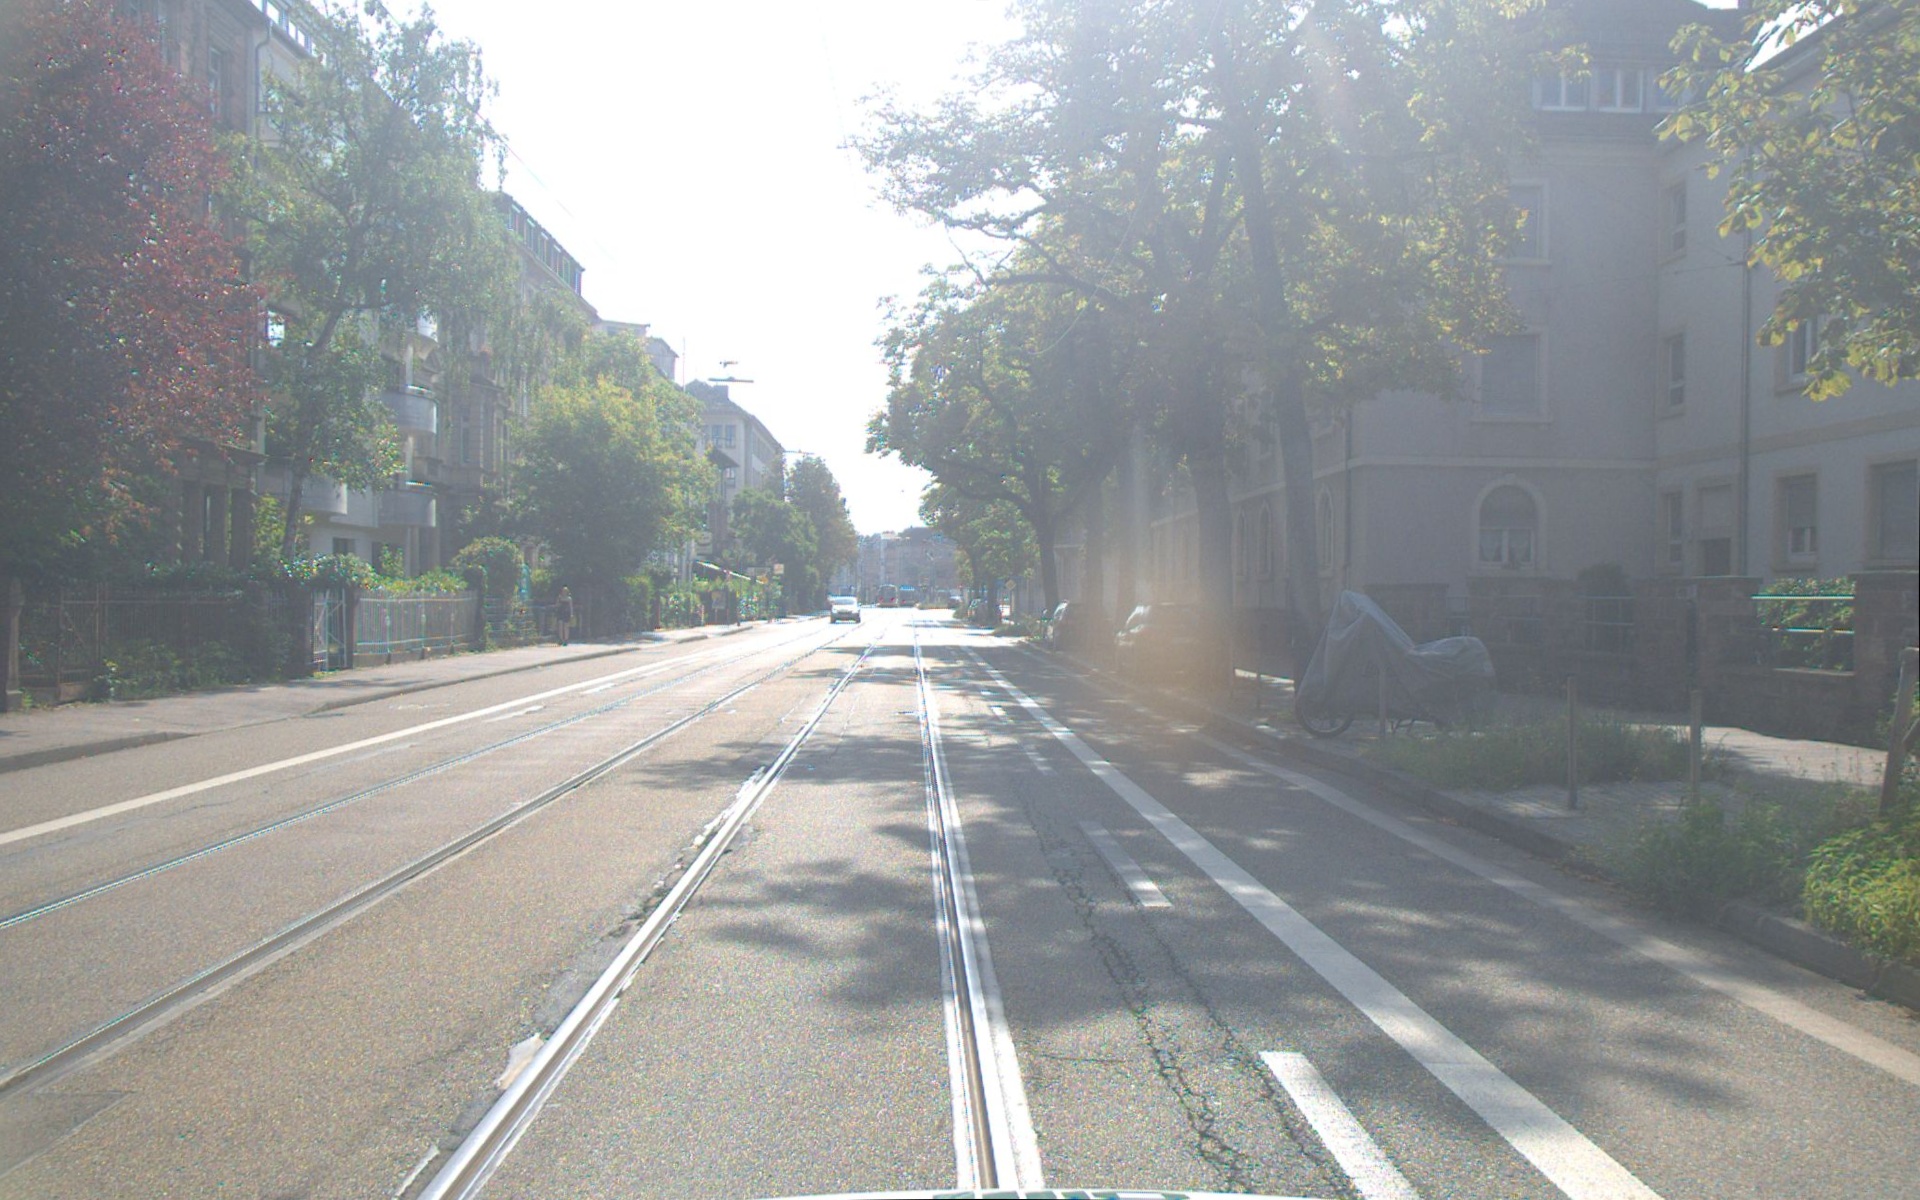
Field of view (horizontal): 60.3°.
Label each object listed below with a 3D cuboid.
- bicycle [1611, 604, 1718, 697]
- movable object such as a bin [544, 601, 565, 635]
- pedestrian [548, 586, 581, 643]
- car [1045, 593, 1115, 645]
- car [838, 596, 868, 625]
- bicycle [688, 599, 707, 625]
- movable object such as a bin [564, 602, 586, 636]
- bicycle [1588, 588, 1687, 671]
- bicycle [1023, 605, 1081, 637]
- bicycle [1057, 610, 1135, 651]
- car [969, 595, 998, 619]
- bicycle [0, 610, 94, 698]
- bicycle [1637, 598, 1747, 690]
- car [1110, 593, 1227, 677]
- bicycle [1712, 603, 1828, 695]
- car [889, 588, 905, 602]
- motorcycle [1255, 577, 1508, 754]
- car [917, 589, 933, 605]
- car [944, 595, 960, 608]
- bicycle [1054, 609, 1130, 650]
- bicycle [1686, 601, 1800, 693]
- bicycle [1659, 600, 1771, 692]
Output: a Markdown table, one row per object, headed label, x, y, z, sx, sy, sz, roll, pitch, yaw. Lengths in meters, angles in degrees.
| label | x | y | z | sx | sy | sz | roll | pitch | yaw |
| --- | --- | --- | --- | --- | --- | --- | --- | --- | --- |
| bicycle | 9.150 | 0.633 | 21.555 | 0.414 | 1.123 | 1.998 | 0 | 0 | -4 |
| movable object such as a bin | -13.171 | 0.595 | 53.716 | 0.578 | 1.097 | 0.703 | 0 | 0 | -8 |
| pedestrian | -11.458 | 0.416 | 47.924 | 0.737 | 1.619 | 0.878 | 0 | 0 | -1 |
| car | 3.576 | 0.583 | 49.983 | 1.736 | 1.499 | 3.972 | 0 | -1 | -2 |
| car | -6.463 | 0.618 | 100.524 | 1.692 | 1.666 | 3.983 | 0 | 0 | -2 |
| bicycle | -12.768 | 0.565 | 80.476 | 0.549 | 1.242 | 2.113 | 0 | 0 | 0 |
| movable object such as a bin | -12.517 | 0.617 | 53.812 | 0.619 | 1.097 | 0.703 | 0 | 0 | -8 |
| bicycle | 9.602 | 0.397 | 23.507 | 0.527 | 1.123 | 1.872 | 0 | 0 | -4 |
| bicycle | 3.354 | 0.771 | 60.456 | 2.065 | 1.124 | 0.615 | -1 | 0 | -3 |
| bicycle | 3.765 | 0.839 | 45.807 | 2.068 | 1.125 | 0.562 | 0 | 0 | -9 |
| car | 1.510 | 0.452 | 107.274 | 1.736 | 1.499 | 3.972 | 0 | -1 | -2 |
| bicycle | -12.369 | 0.692 | 21.395 | 1.976 | 1.123 | 0.588 | 0 | 0 | -5 |
| bicycle | 9.501 | 0.543 | 21.546 | 0.416 | 1.123 | 1.998 | 0 | 0 | -4 |
| car | 4.091 | 0.651 | 32.971 | 1.692 | 1.531 | 3.983 | -1 | 0 | -2 |
| bicycle | 10.615 | 0.621 | 21.740 | 0.416 | 1.123 | 1.998 | 0 | 0 | -4 |
| car | -9.292 | -0.707 | 244.058 | 1.952 | 2.049 | 4.000 | 2 | 0 | 1 |
| motorcycle | 4.332 | 0.643 | 17.144 | 2.377 | 1.703 | 0.908 | -1 | 1 | 43 |
| car | -4.779 | -0.445 | 225.687 | 1.952 | 2.049 | 4.001 | 2 | 0 | 1 |
| car | -1.090 | 0.234 | 233.584 | 1.952 | 1.814 | 4.001 | 2 | 0 | 3 |
| bicycle | 3.693 | 0.829 | 46.329 | 2.068 | 1.125 | 0.562 | 0 | 0 | -9 |
| bicycle | 10.199 | 0.593 | 21.612 | 0.416 | 1.123 | 1.998 | 0 | 0 | -4 |
| bicycle | 9.798 | 0.576 | 21.531 | 0.416 | 1.123 | 1.998 | 0 | 0 | -4 |
